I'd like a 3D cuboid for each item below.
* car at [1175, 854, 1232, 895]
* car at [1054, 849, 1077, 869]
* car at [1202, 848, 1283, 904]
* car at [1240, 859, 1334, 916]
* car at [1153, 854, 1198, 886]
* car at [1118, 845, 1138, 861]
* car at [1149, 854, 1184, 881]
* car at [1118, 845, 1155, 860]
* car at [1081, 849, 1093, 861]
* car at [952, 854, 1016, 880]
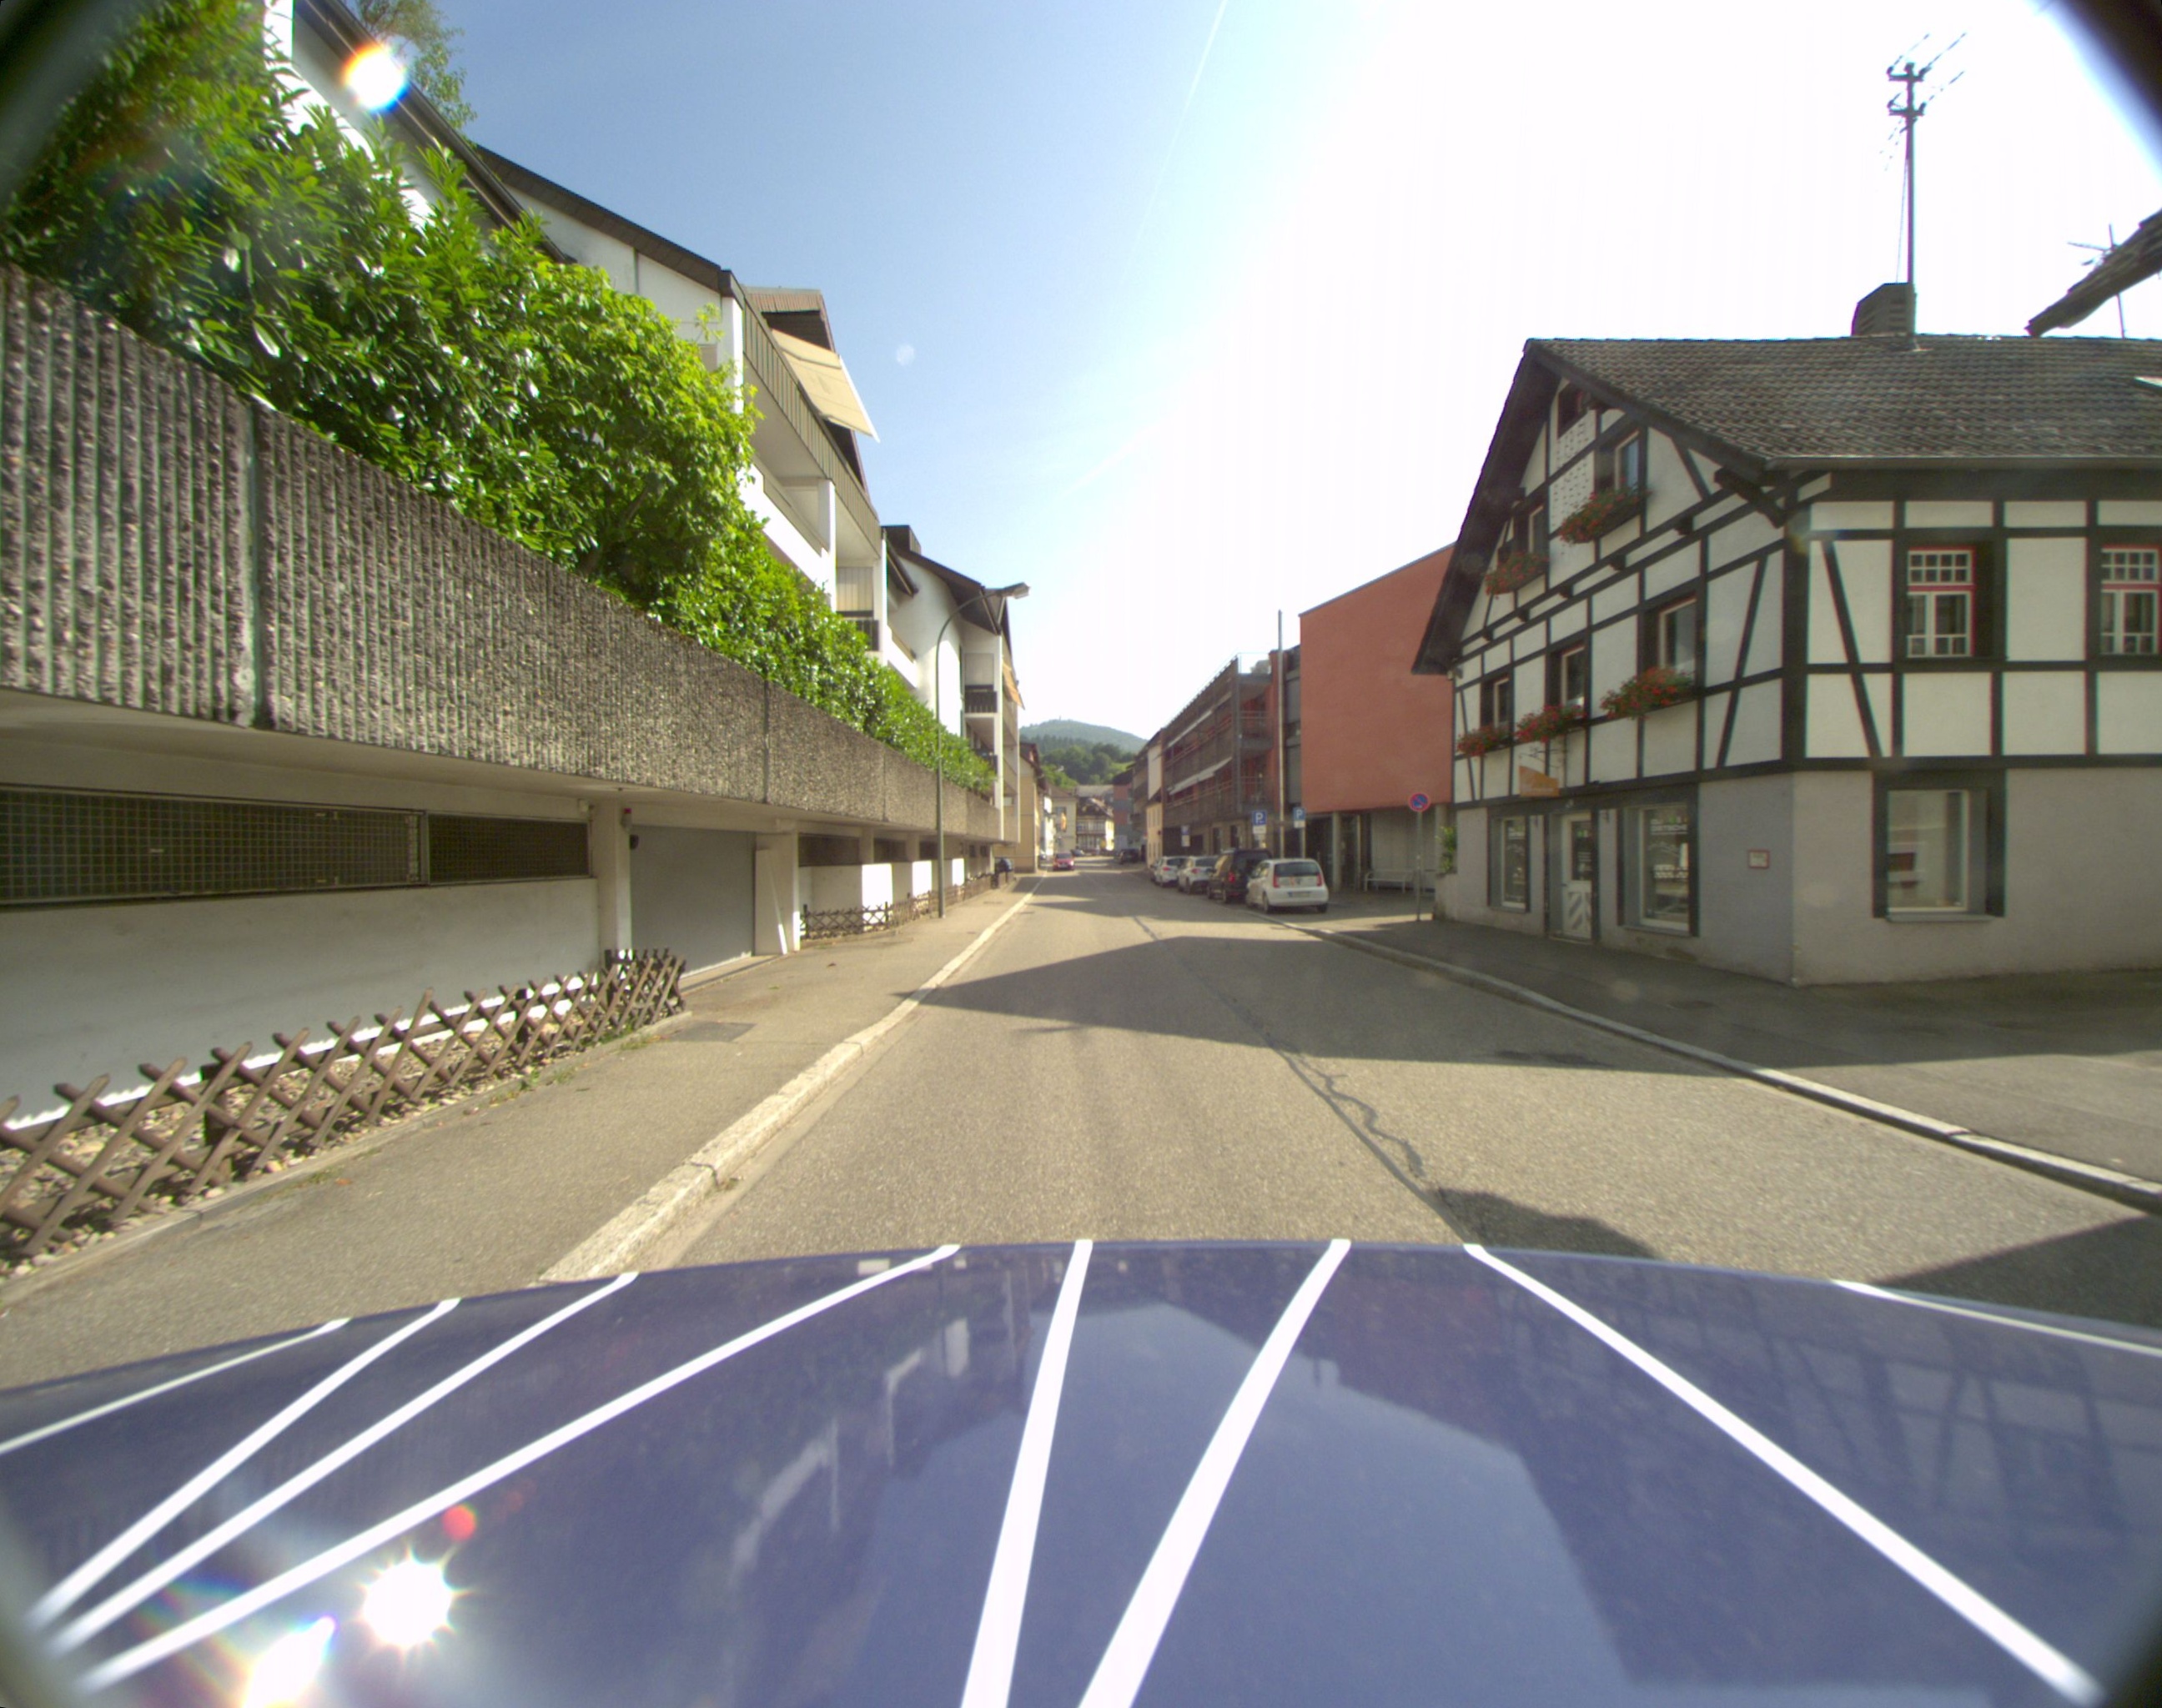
[{"bbox_3d":[5.155,0.822,32.457,1.679,1.580,3.948,-1,0,-2],"label":"car"},{"bbox_3d":[-1.328,0.374,63.885,1.822,1.652,3.999,0,0,-2],"label":"car"},{"bbox_3d":[5.570,0.711,26.715,1.725,1.786,4.268,-1,0,-3],"label":"car"},{"bbox_3d":[5.730,0.887,21.551,1.670,1.423,3.568,-2,0,0],"label":"car"},{"bbox_3d":[4.812,0.798,39.161,1.678,1.546,3.764,-2,0,-2],"label":"car"},{"bbox_3d":[4.957,-0.086,80.728,1.787,1.566,3.888,-4,1,-1],"label":"car"},{"bbox_3d":[4.939,0.772,44.244,1.553,1.408,3.593,-2,1,0],"label":"car"},{"bbox_3d":[6.452,-0.173,89.126,4.000,1.673,1.834,-1,-1,-9],"label":"car"},{"bbox_3d":[1.029,0.185,139.964,1.999,2.002,3.999,-2,1,-2],"label":"car"},{"bbox_3d":[-6.161,0.826,48.654,3.838,1.470,1.700,-2,0,-3],"label":"car"}]
